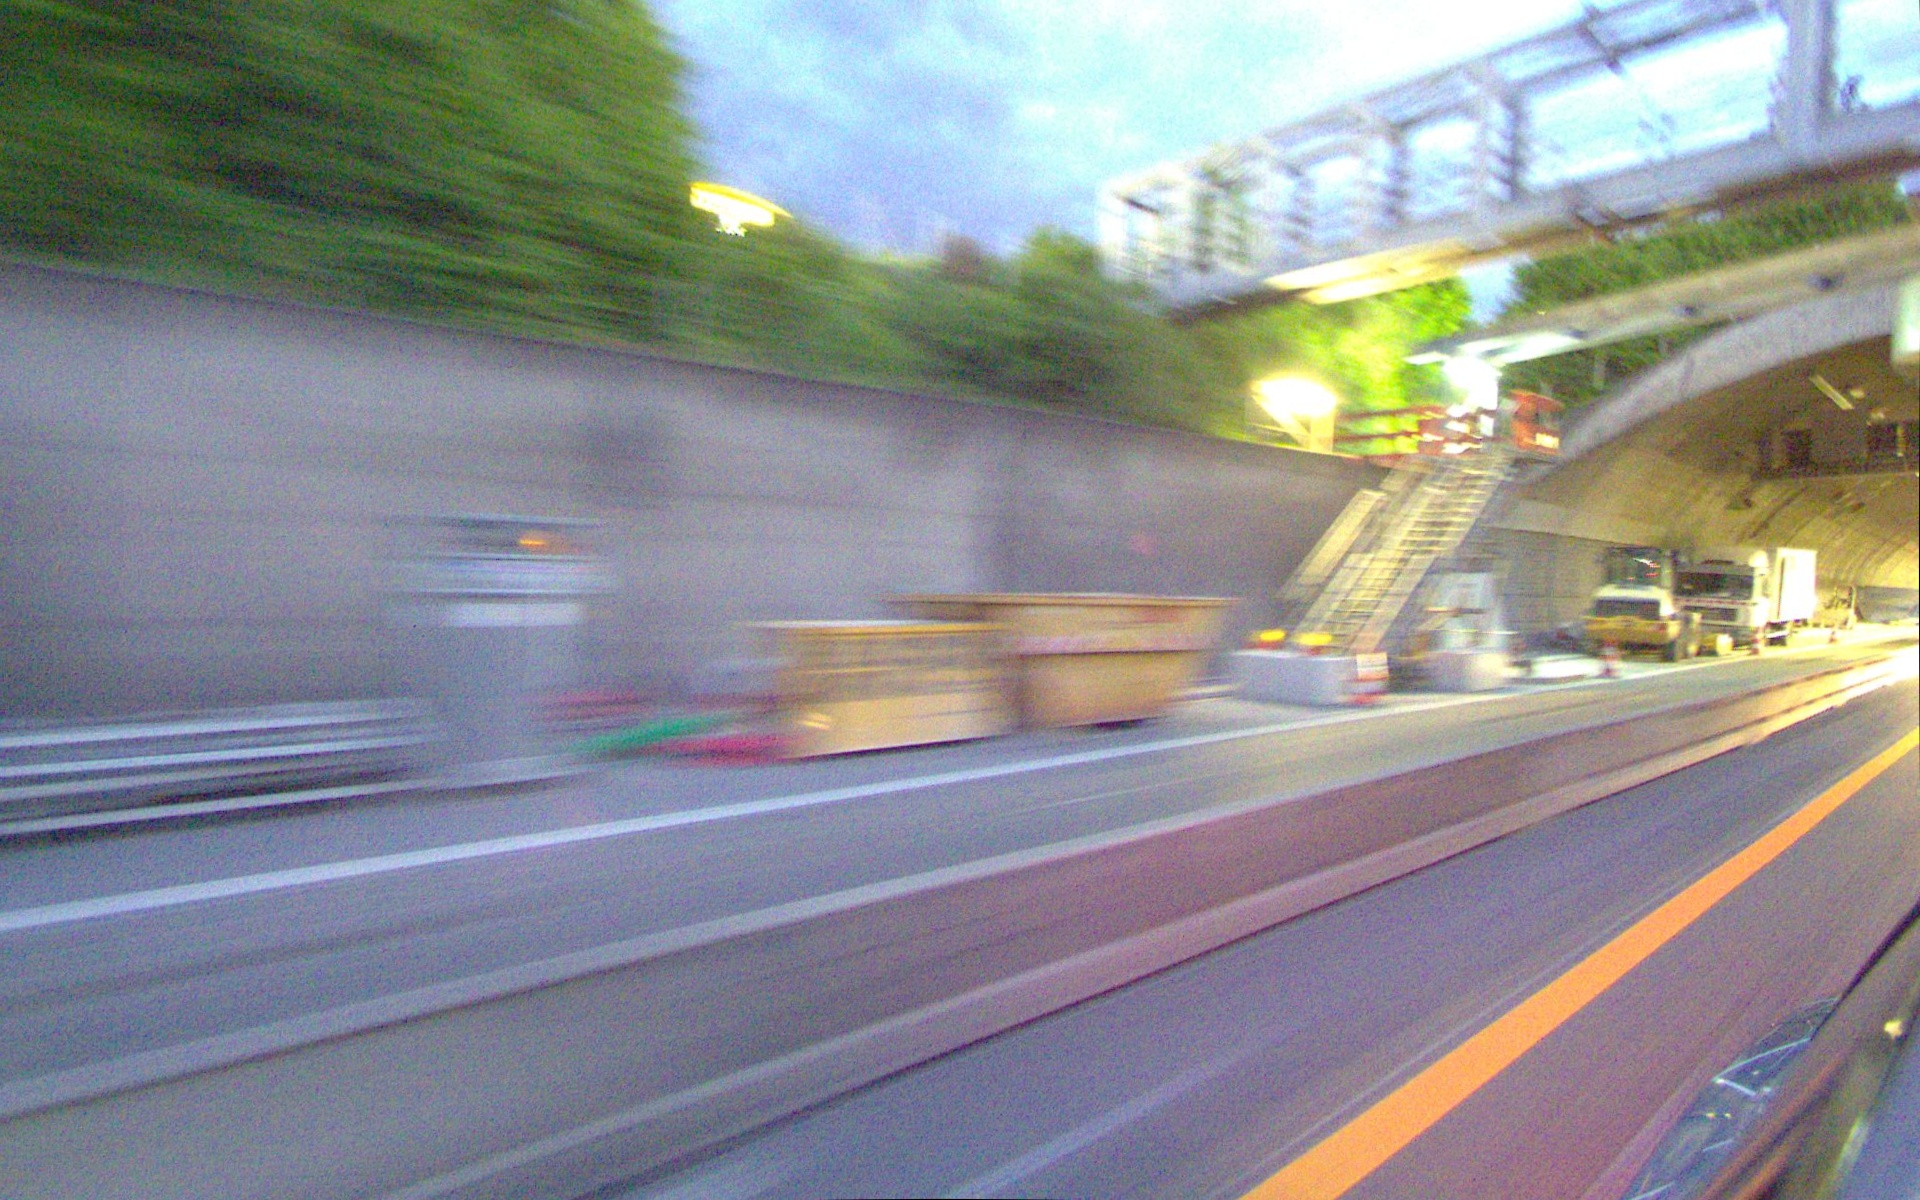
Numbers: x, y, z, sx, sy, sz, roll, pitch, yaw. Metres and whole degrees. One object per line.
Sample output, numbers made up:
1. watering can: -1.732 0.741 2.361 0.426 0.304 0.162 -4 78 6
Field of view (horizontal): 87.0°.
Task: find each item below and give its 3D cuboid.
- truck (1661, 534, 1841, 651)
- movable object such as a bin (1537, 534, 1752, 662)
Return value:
1. truck: 25.511 -0.254 32.459 8.203 3.327 2.824 -1 0 -39
2. movable object such as a bin: 17.839 -0.082 26.175 7.073 2.863 2.974 -1 0 -42
